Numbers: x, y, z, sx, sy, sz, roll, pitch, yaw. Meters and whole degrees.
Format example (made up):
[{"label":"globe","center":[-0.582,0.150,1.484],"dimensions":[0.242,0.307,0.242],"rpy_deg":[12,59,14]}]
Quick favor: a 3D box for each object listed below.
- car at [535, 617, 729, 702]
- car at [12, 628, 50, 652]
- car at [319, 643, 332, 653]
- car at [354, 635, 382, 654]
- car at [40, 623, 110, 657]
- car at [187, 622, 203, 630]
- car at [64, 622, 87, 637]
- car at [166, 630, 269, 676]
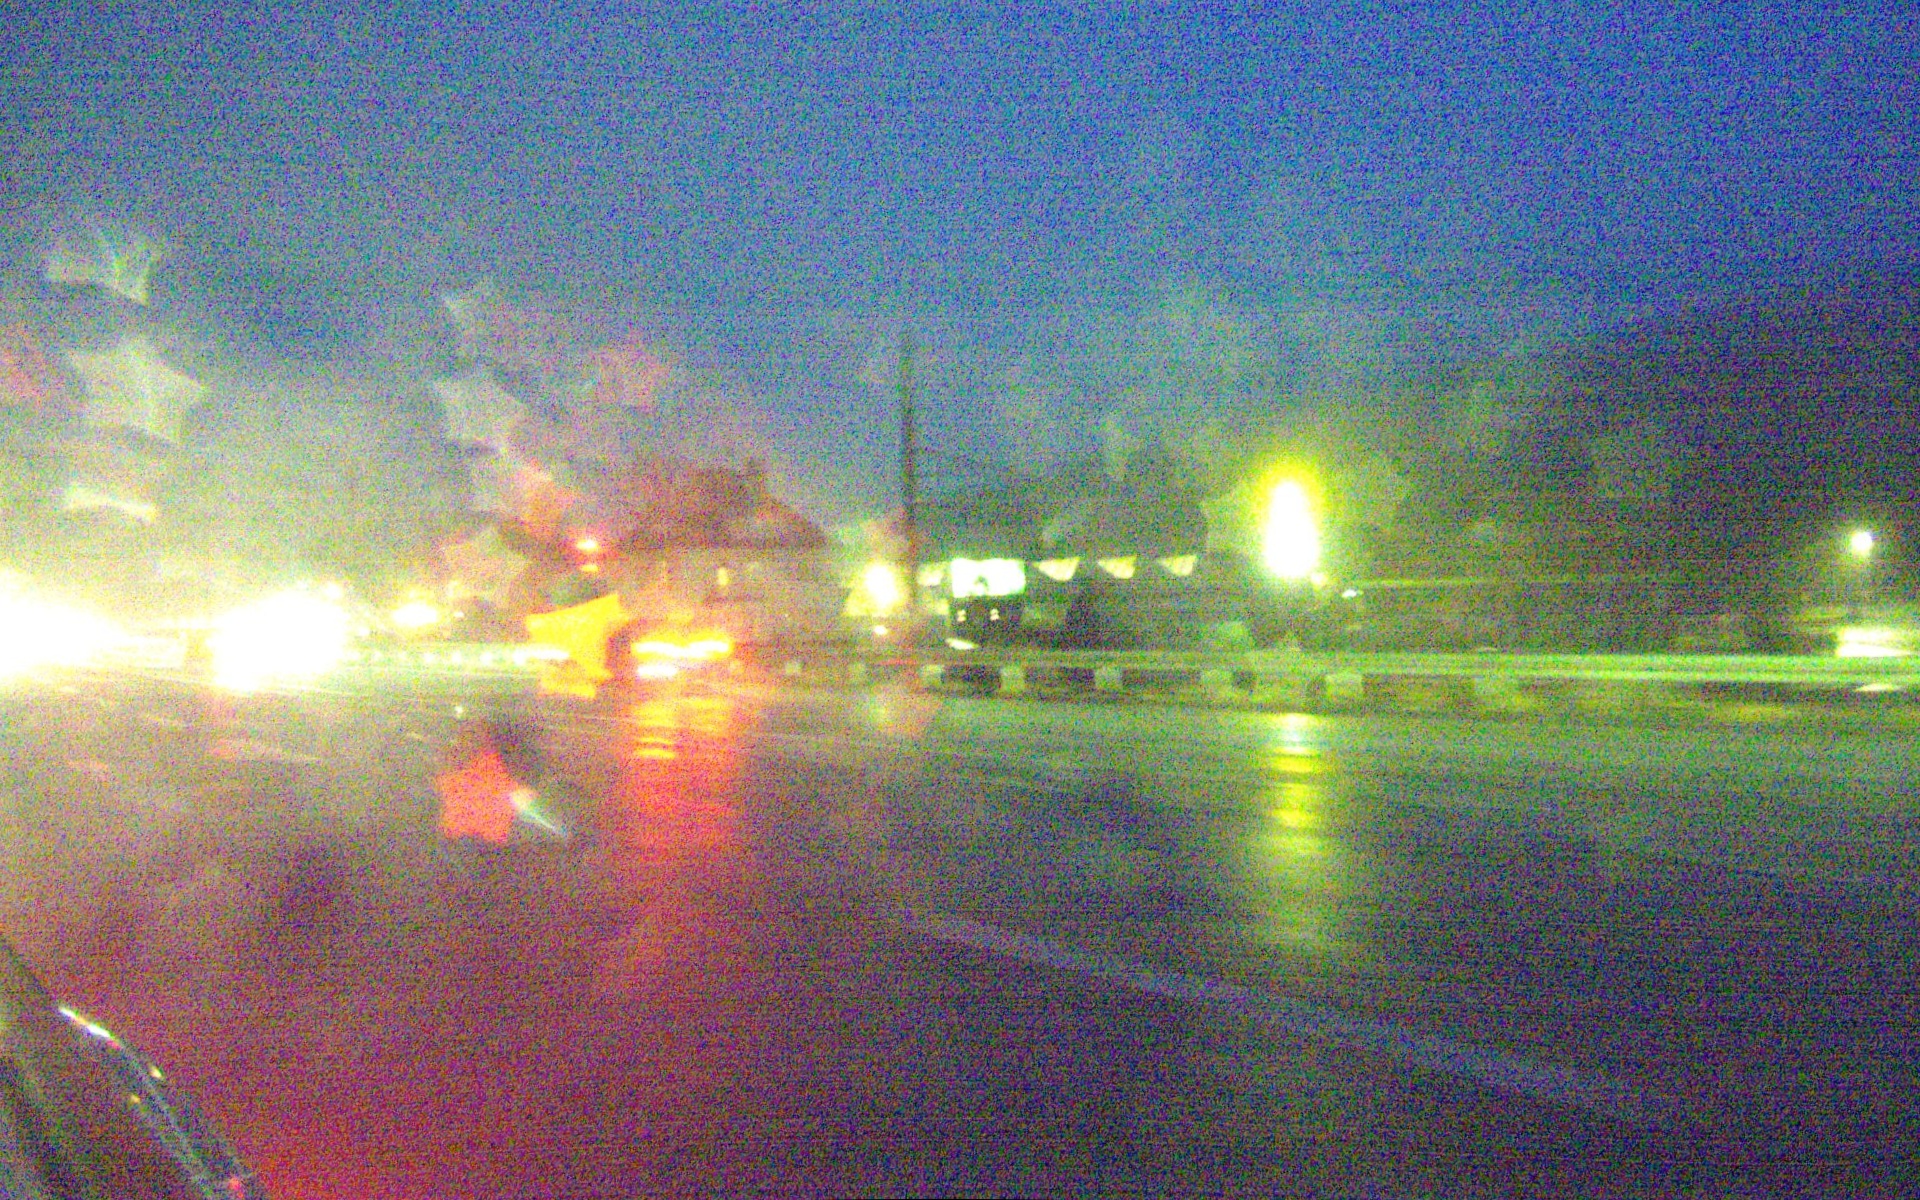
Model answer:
[{"label":"car","center":[-6.458,1.105,19.790],"dimensions":[3.851,1.452,1.773],"rpy_deg":[-1,0,39]},{"label":"car","center":[-66.629,2.859,72.551],"dimensions":[1.860,1.612,3.902],"rpy_deg":[-1,0,-45]},{"label":"car","center":[-117.192,8.813,186.927],"dimensions":[1.783,1.582,4.305],"rpy_deg":[-1,0,-30]},{"label":"car","center":[-68.348,5.084,116.855],"dimensions":[1.970,2.029,4.004],"rpy_deg":[-1,0,-43]},{"label":"car","center":[-49.119,2.173,56.145],"dimensions":[4.520,1.758,2.176],"rpy_deg":[-1,0,39]},{"label":"car","center":[-149.274,5.049,197.583],"dimensions":[1.966,1.625,4.625],"rpy_deg":[0,-1,-31]},{"label":"car","center":[-124.100,4.093,142.060],"dimensions":[1.967,2.029,4.010],"rpy_deg":[-1,0,-34]},{"label":"car","center":[-26.162,1.830,35.620],"dimensions":[4.485,1.453,1.815],"rpy_deg":[-1,0,38]}]
